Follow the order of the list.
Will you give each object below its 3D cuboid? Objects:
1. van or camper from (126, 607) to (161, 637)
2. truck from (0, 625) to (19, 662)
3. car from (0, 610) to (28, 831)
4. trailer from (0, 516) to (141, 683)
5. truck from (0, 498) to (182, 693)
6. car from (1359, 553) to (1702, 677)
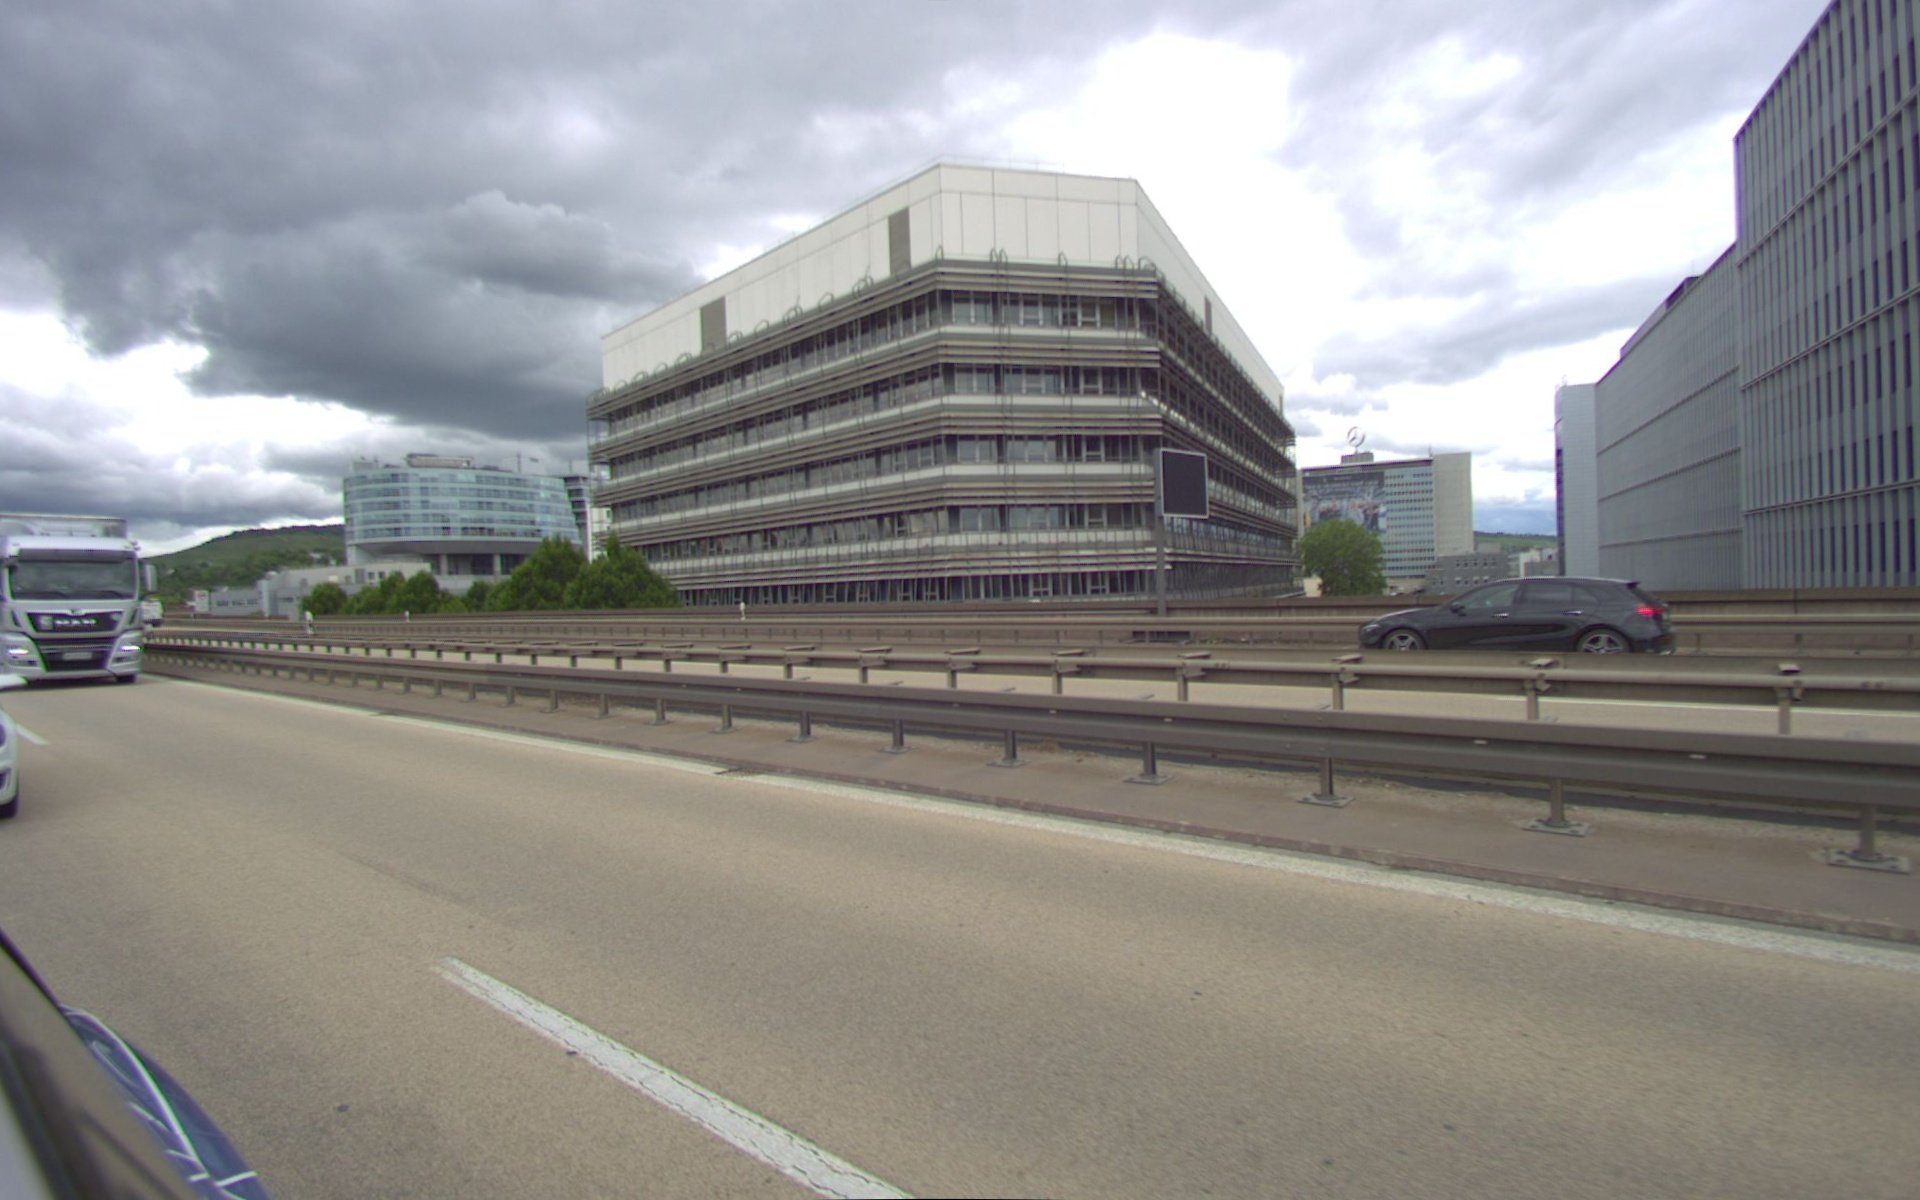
[{"bbox_3d":[-84.681,2.249,104.954,2.146,3.031,7.122,-1,0,-44],"label":"van or camper"},{"bbox_3d":[-42.562,1.920,44.330,3.515,1.541,1.804,-1,0,44],"label":"truck"},{"bbox_3d":[-8.601,0.848,7.788,4.063,1.519,1.904,-1,0,44],"label":"car"},{"bbox_3d":[-26.812,0.000,29.306,11.766,4.056,3.147,-1,1,43],"label":"trailer"},{"bbox_3d":[-21.120,-0.128,24.070,5.688,4.067,3.101,-1,2,42],"label":"truck"},{"bbox_3d":[8.643,0.194,15.576,4.358,1.662,1.665,-1,1,41],"label":"car"}]
